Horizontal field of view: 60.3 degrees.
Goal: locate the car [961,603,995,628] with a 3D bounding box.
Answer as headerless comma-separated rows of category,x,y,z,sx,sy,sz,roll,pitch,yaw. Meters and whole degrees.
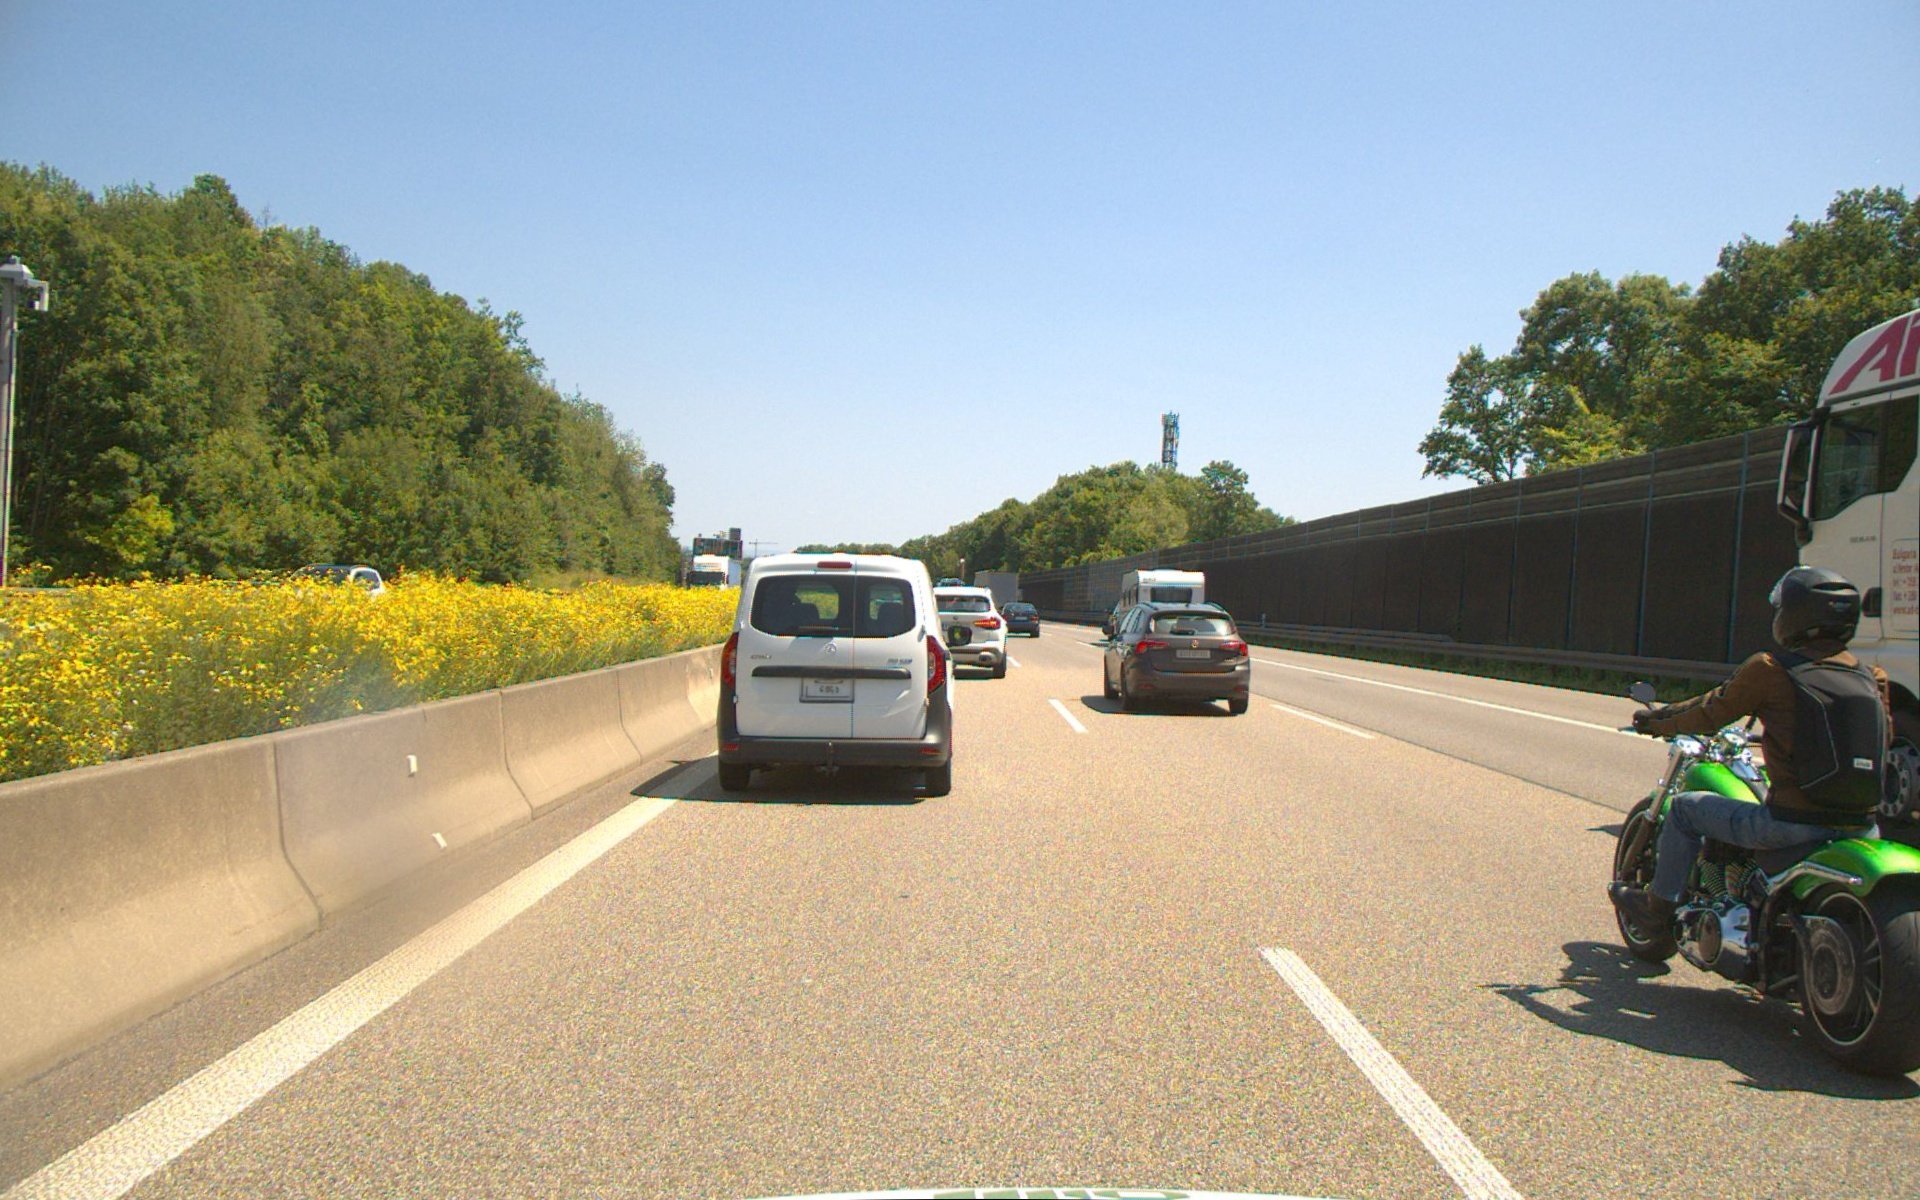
car,1.074,0.943,99.553,1.787,1.449,3.998,1,0,-2

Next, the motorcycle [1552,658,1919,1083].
motorcycle,3.082,0.879,6.214,0.842,1.202,2.276,2,0,-1

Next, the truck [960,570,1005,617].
truck,1.955,-0.555,148.569,3.022,4.055,9.635,1,0,-5

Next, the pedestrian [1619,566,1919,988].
pedestrian,3.080,0.642,6.313,0.834,1.504,0.638,2,0,-1

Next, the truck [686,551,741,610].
truck,-17.358,-1.357,116.781,2.692,3.924,8.411,2,0,-1

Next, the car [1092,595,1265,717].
car,3.056,0.734,23.949,1.801,1.539,4.401,2,0,-1

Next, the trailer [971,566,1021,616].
trailer,2.961,-0.736,141.076,3.022,4.055,10.311,1,0,-5

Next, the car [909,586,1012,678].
car,-0.033,0.577,32.161,1.833,1.636,3.878,2,0,-1

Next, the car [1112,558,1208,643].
car,6.996,0.041,58.572,2.429,2.814,6.217,1,0,-2

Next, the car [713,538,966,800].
car,-0.898,0.500,13.798,1.766,1.840,3.999,1,0,-1

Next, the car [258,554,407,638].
car,-14.540,-0.096,38.609,1.844,1.796,4.321,2,0,-1

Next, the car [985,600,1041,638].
car,2.142,0.776,67.926,1.789,1.449,3.995,1,0,-5
